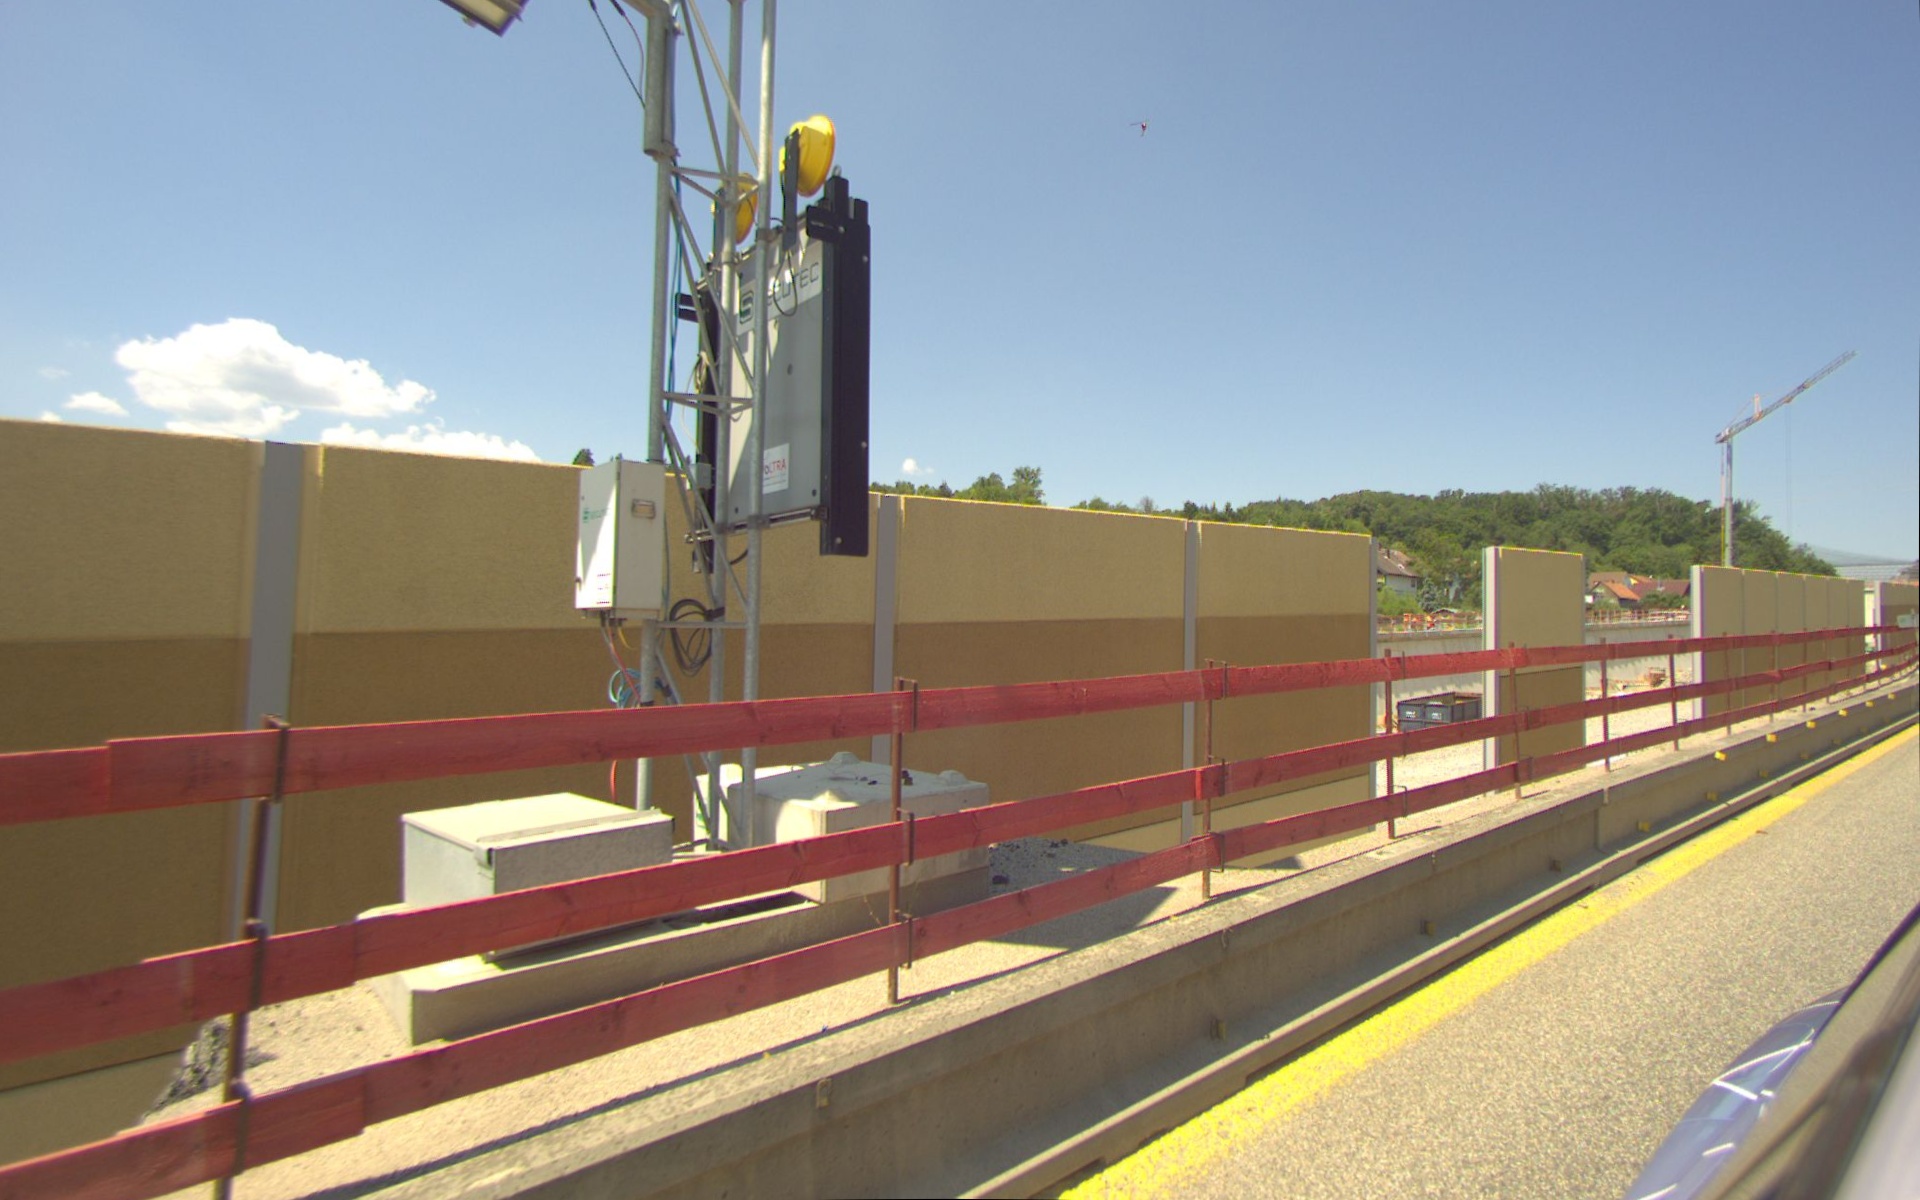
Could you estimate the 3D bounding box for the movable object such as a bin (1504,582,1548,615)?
[{"bbox_3d":[54.717,-0.146,97.844,4.831,3.123,2.201,1,-1,-41],"label":"movable object such as a bin"}]
